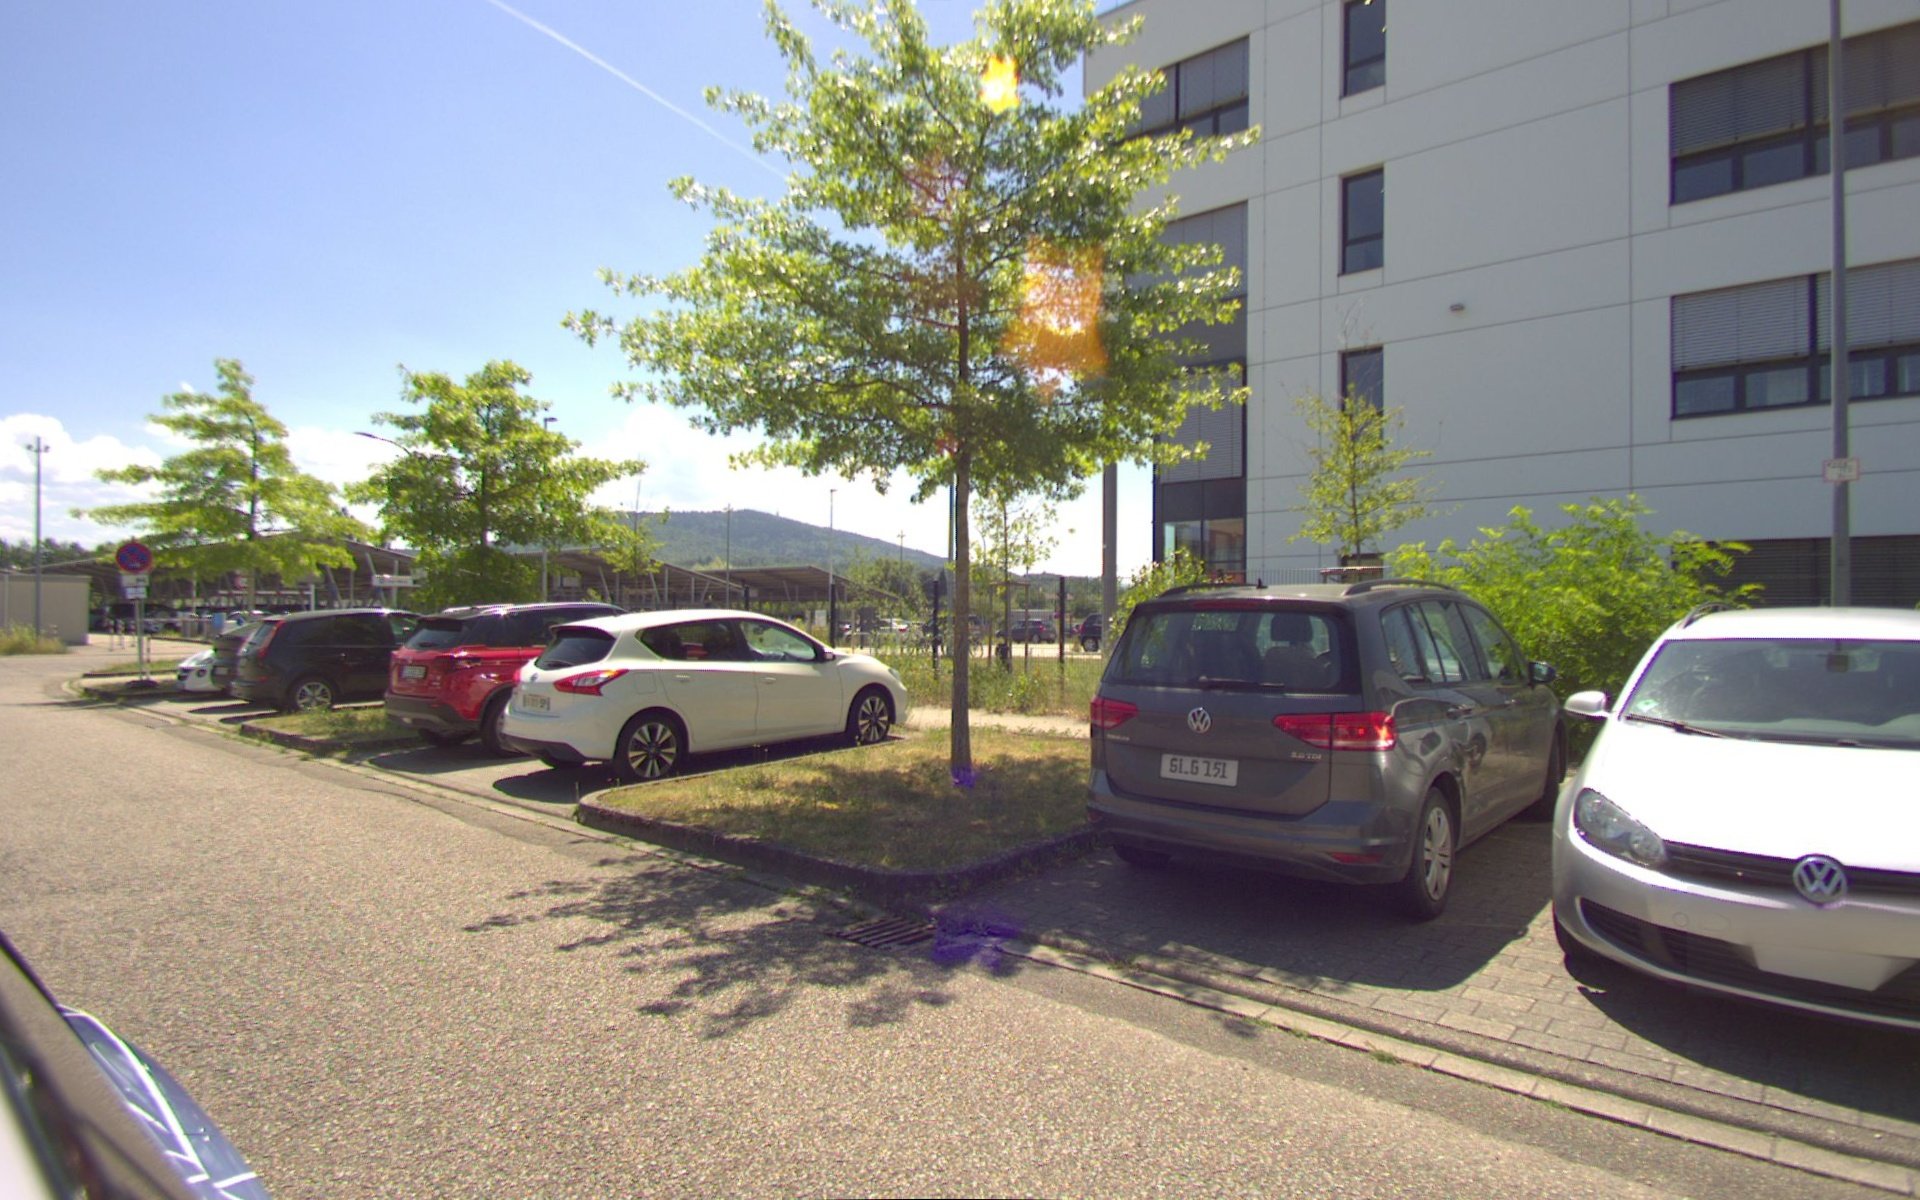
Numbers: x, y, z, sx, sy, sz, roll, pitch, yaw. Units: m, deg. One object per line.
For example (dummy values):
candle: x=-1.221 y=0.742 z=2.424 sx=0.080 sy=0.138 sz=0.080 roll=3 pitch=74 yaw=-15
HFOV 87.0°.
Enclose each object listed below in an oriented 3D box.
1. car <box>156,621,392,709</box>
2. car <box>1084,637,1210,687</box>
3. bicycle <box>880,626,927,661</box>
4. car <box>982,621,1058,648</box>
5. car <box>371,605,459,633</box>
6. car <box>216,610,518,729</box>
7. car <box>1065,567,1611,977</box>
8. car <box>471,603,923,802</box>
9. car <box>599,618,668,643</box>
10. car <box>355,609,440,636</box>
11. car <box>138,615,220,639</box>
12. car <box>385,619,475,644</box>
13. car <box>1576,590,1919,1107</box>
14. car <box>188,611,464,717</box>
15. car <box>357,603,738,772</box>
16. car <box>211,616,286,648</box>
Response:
car: x=-13.288 y=1.192 z=19.733 sx=1.726 sy=1.452 sz=3.469 roll=-1 pitch=0 yaw=40
car: x=6.470 y=2.121 z=35.298 sx=3.996 sy=1.614 sz=1.758 roll=-1 pitch=-2 yaw=40
bicycle: x=-1.646 y=1.257 z=29.686 sx=0.461 sy=0.989 sz=1.576 roll=-1 pitch=-2 yaw=38
car: x=3.527 y=2.019 z=59.763 sx=4.400 sy=1.526 sz=1.677 roll=-1 pitch=-2 yaw=40
car: x=-28.739 y=1.007 z=53.481 sx=1.720 sy=1.447 sz=3.729 roll=-1 pitch=-2 yaw=37
car: x=-9.402 y=1.003 z=16.245 sx=1.728 sy=1.604 sz=3.863 roll=-1 pitch=0 yaw=44
car: x=2.555 y=0.682 z=6.170 sx=1.727 sy=1.647 sz=4.073 roll=-1 pitch=0 yaw=42
car: x=-2.466 y=0.857 z=10.291 sx=1.806 sy=1.524 sz=4.128 roll=-3 pitch=-1 yaw=42
car: x=-19.948 y=1.858 z=61.887 sx=1.720 sy=1.447 sz=3.729 roll=-1 pitch=-2 yaw=37
car: x=-30.962 y=1.251 z=55.820 sx=1.720 sy=1.447 sz=3.729 roll=-1 pitch=-2 yaw=37
car: x=-48.582 y=1.671 z=63.024 sx=1.720 sy=1.447 sz=3.729 roll=-1 pitch=-2 yaw=37
car: x=-27.210 y=1.633 z=52.020 sx=1.720 sy=1.237 sz=3.729 roll=-1 pitch=-2 yaw=37
car: x=4.115 y=0.711 z=4.616 sx=1.725 sy=1.484 sz=4.270 roll=-1 pitch=0 yaw=38
car: x=-11.239 y=1.046 z=18.157 sx=1.826 sy=1.605 sz=3.803 roll=-1 pitch=0 yaw=37
car: x=-4.685 y=0.877 z=11.936 sx=1.725 sy=1.604 sz=3.802 roll=-1 pitch=0 yaw=38
car: x=-32.642 y=1.455 z=46.425 sx=3.769 sy=1.447 sz=1.702 roll=-1 pitch=-2 yaw=37
